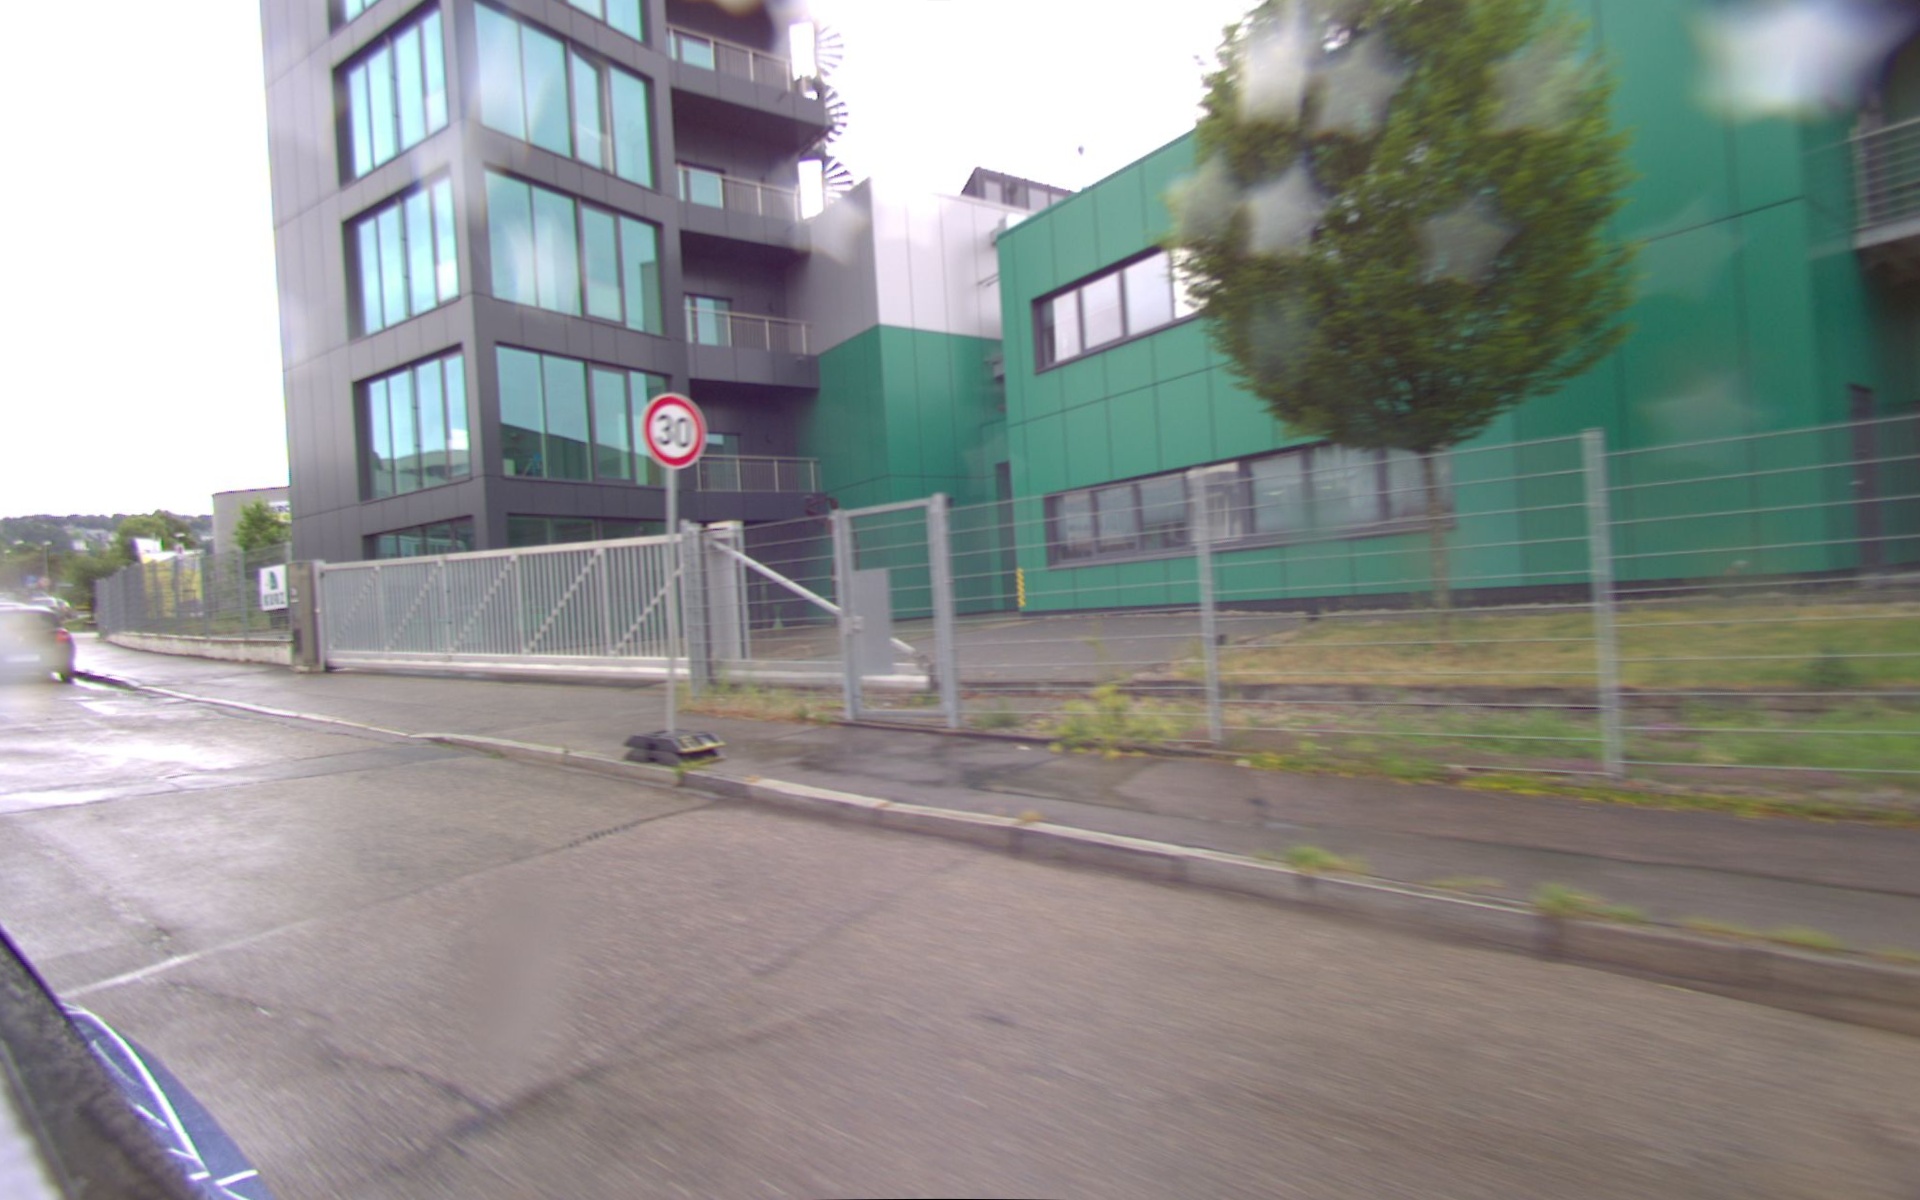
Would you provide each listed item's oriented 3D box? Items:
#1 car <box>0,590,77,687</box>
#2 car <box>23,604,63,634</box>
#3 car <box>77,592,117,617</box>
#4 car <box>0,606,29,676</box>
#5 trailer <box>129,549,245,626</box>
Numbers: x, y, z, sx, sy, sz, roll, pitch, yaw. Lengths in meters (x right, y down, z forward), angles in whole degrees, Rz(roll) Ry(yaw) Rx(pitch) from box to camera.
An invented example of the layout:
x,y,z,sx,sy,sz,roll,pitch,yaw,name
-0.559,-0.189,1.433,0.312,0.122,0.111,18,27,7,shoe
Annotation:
x,y,z,sx,sy,sz,roll,pitch,yaw,name
-19.428,0.740,20.588,3.958,1.811,1.721,-1,1,42,car
-62.207,1.285,68.610,1.970,1.928,4.004,0,-1,-43,car
-73.521,0.398,86.259,1.966,2.029,4.012,-2,0,-31,car
-23.261,0.956,23.857,4.084,1.570,1.614,-1,-1,43,car
-43.206,-0.706,56.640,4.635,4.120,2.388,-1,1,1,trailer
